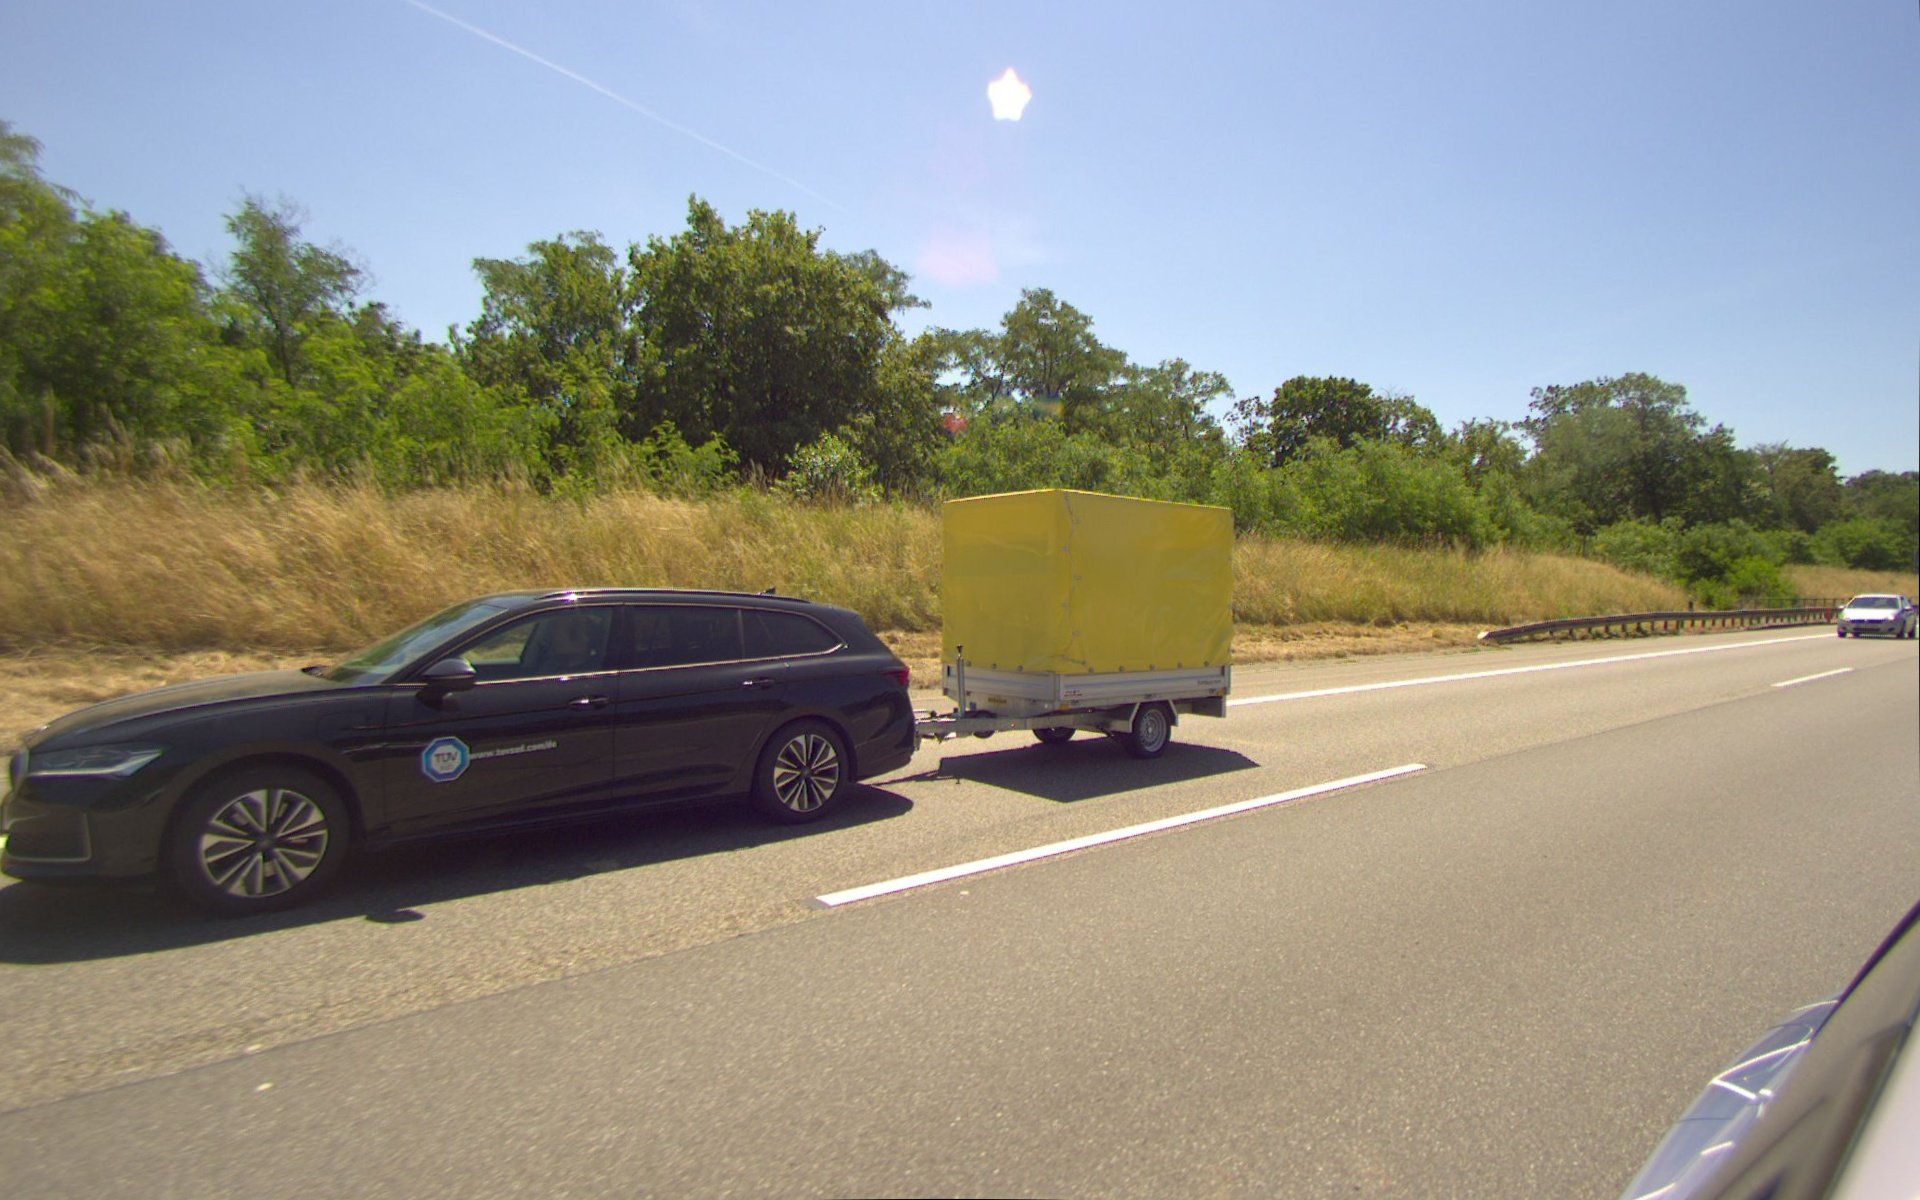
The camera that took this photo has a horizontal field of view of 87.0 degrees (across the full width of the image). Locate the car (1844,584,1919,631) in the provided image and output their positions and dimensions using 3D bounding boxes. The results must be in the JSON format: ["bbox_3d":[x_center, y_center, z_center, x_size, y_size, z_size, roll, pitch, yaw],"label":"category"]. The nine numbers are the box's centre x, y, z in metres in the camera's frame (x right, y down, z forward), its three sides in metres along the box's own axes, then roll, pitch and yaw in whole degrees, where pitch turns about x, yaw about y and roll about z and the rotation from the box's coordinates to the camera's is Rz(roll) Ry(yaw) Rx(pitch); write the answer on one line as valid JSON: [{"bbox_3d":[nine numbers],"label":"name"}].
[{"bbox_3d":[31.292,0.214,33.981,3.908,1.484,1.749,0,0,-39],"label":"car"}]

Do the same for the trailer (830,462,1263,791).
[{"bbox_3d":[0.894,0.162,9.024,3.772,2.318,1.706,-1,1,-40],"label":"trailer"}]

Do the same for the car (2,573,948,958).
[{"bbox_3d":[-2.456,0.602,6.104,4.704,1.474,1.825,-1,1,-40],"label":"car"}]
